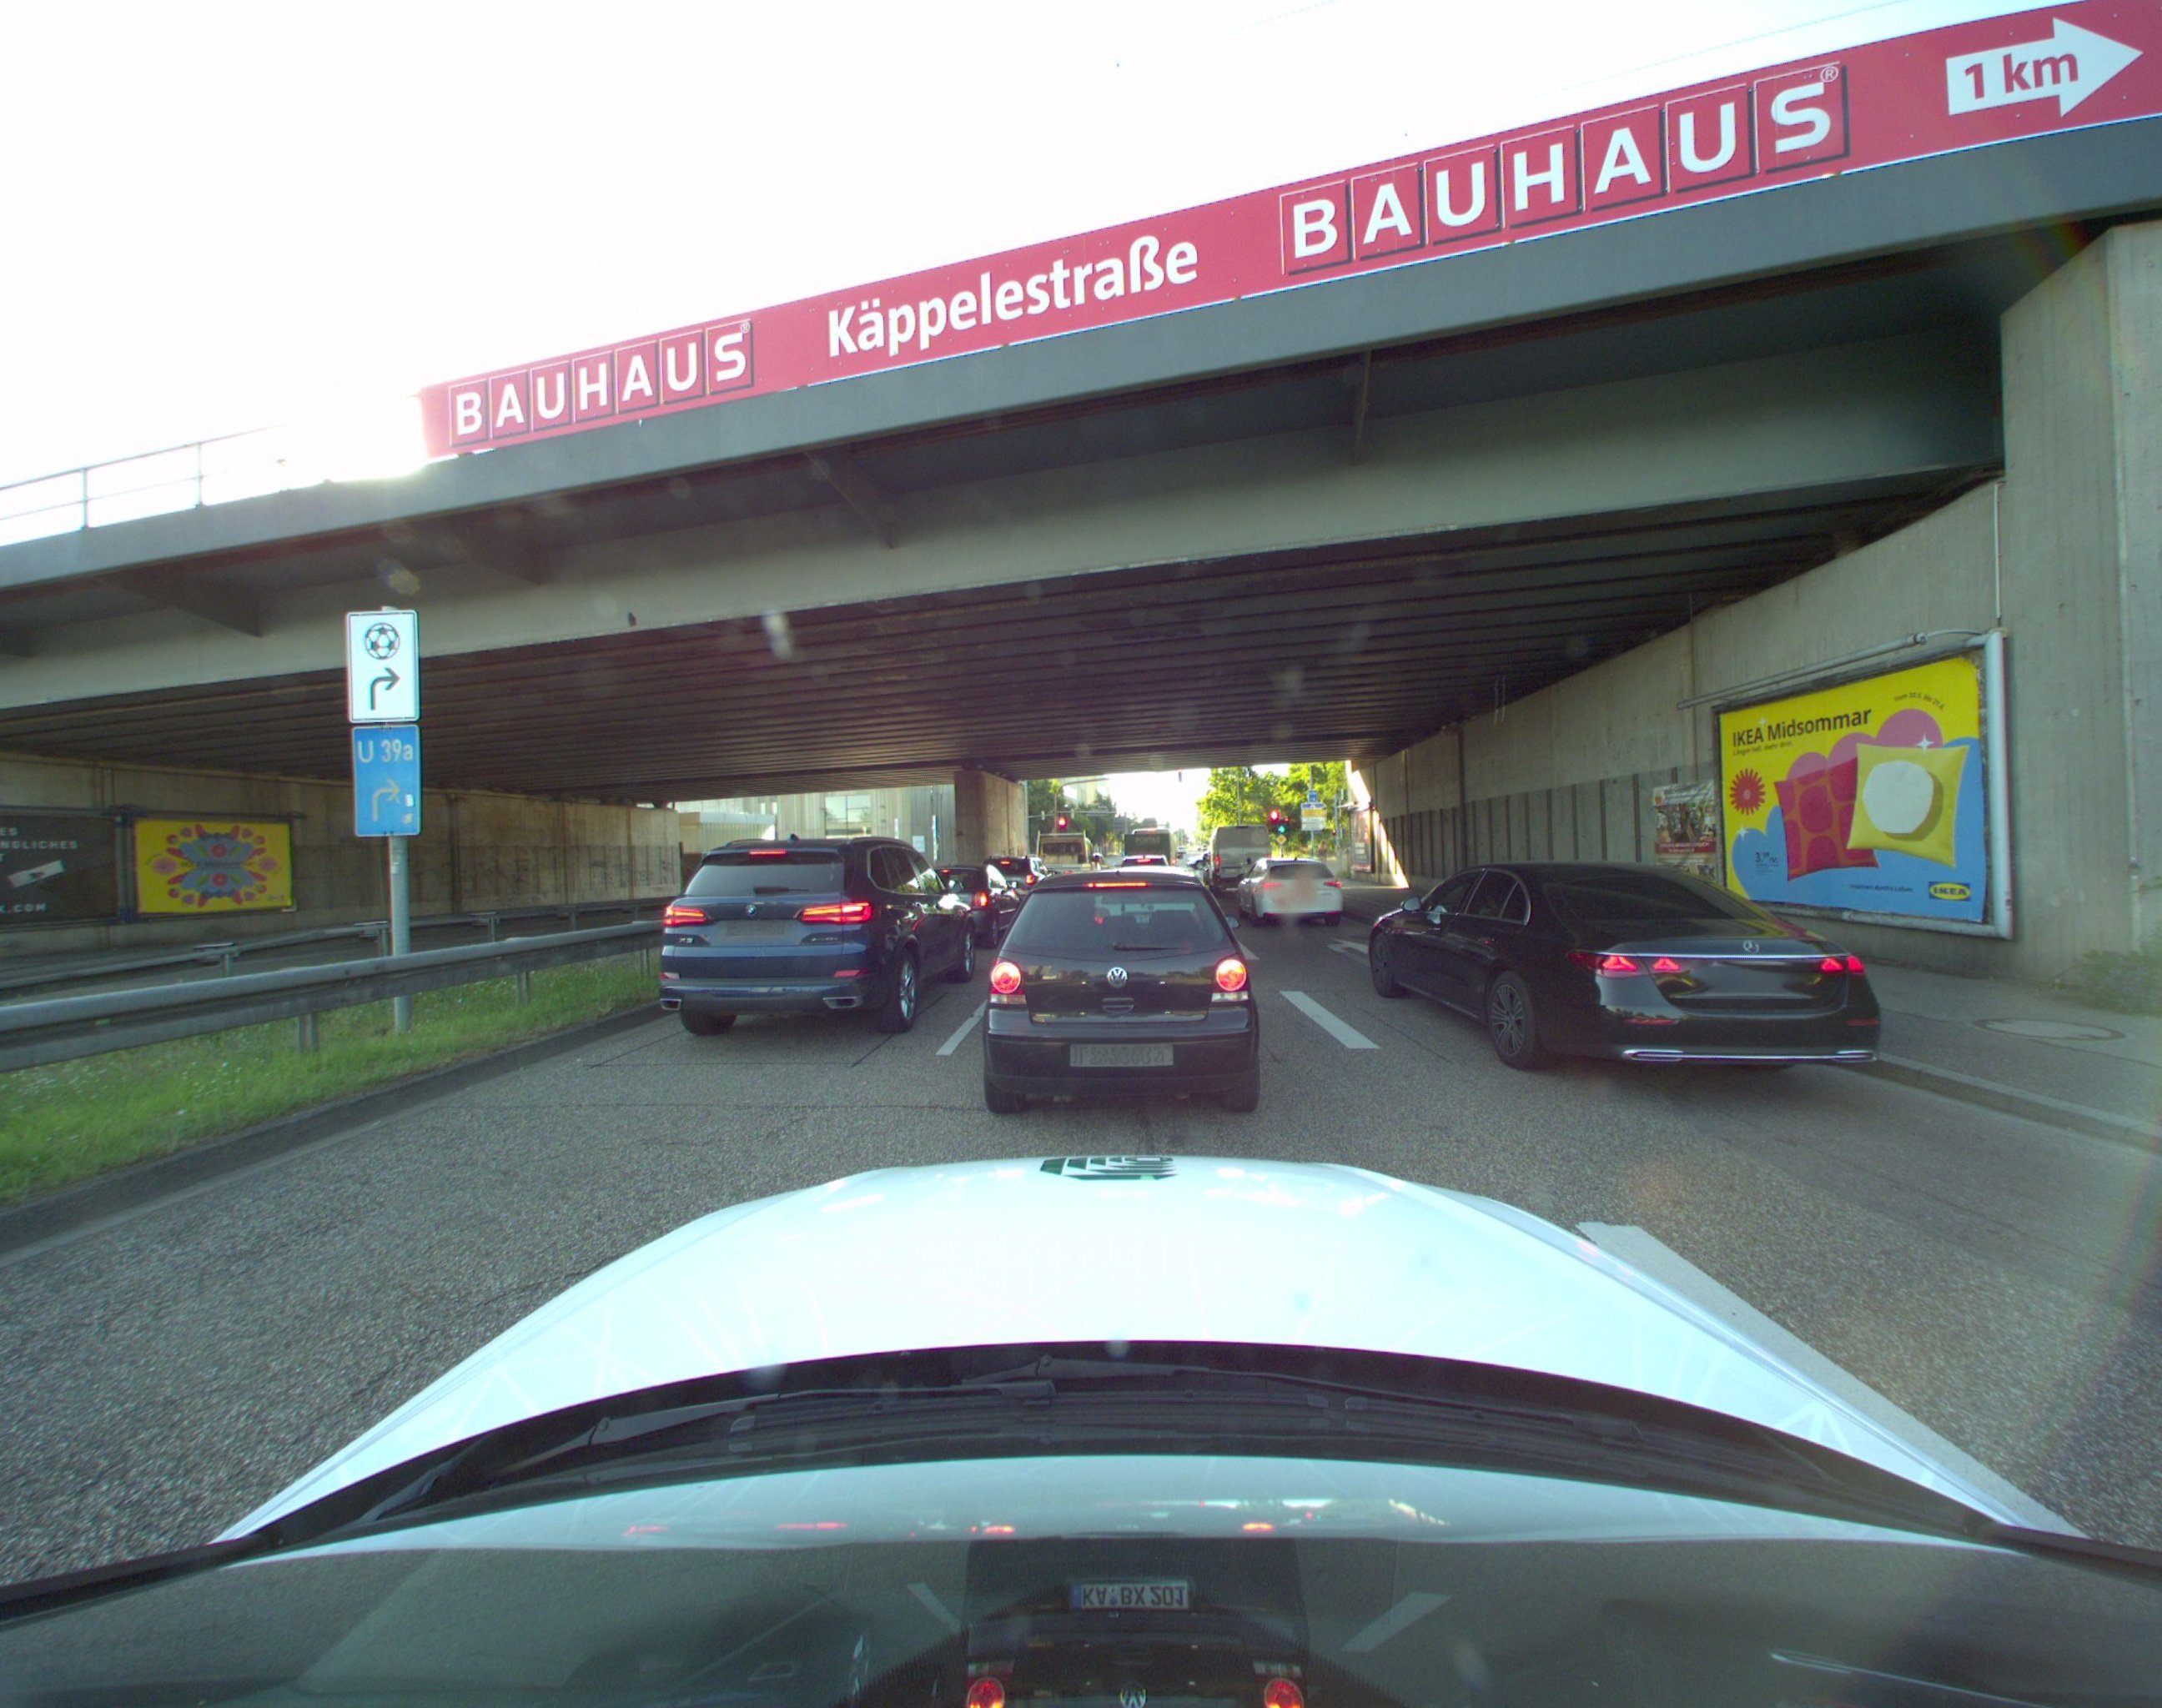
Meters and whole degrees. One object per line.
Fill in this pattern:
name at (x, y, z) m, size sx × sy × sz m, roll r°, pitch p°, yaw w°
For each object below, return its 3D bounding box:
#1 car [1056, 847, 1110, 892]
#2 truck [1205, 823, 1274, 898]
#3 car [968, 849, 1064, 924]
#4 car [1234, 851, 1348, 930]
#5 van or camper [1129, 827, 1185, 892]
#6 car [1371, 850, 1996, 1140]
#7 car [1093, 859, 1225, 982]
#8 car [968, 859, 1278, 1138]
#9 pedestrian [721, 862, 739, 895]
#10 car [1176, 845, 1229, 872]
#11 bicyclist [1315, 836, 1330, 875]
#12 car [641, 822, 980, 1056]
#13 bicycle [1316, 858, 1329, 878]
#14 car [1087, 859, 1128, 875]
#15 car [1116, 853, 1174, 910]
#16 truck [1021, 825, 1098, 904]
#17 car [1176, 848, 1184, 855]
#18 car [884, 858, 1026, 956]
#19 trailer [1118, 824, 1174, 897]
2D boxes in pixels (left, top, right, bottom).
car at (0.152, 0.702, 37.548) m, size 1.983 × 1.901 × 4.007 m, roll -2°, pitch -1°, yaw 7°
truck at (5.902, 0.246, 30.824) m, size 2.101 × 2.519 × 4.408 m, roll -3°, pitch -1°, yaw 6°
car at (-1.663, 0.828, 22.150) m, size 1.833 × 1.719 × 4.005 m, roll -5°, pitch -1°, yaw 5°
car at (4.565, 0.772, 18.236) m, size 1.764 × 1.495 × 3.836 m, roll -3°, pitch -1°, yaw 5°
van or camper at (3.443, 0.268, 35.907) m, size 1.982 × 2.571 × 5.932 m, roll -2°, pitch -1°, yaw 9°
car at (3.920, 0.720, 6.505) m, size 1.733 × 1.454 × 4.609 m, roll -1°, pitch 0°, yaw 2°
car at (1.038, 0.788, 11.303) m, size 1.540 × 1.423 × 3.421 m, roll 0°, pitch 0°, yaw 4°
car at (0.254, 0.787, 6.128) m, size 1.576 × 1.409 × 3.832 m, roll -1°, pitch -1°, yaw 1°
pedestrian at (-20.532, 1.437, 47.693) m, size 0.690 × 1.904 × 0.666 m, roll -2°, pitch -1°, yaw 7°
car at (9.293, 0.329, 62.201) m, size 3.771 × 1.684 × 1.669 m, roll -5°, pitch -1°, yaw 10°
bicyclist at (12.063, 0.100, 40.685) m, size 0.676 × 1.907 × 0.837 m, roll -2°, pitch -1°, yaw 17°
car at (-2.369, 0.700, 8.509) m, size 1.822 × 1.738 × 4.464 m, roll -2°, pitch -1°, yaw 3°
bicycle at (12.031, 0.706, 40.563) m, size 0.574 × 0.963 × 2.898 m, roll -2°, pitch -1°, yaw 17°
car at (1.936, 0.941, 59.613) m, size 2.823 × 1.081 × 1.214 m, roll -1°, pitch -1°, yaw -11°
car at (1.936, 0.804, 24.452) m, size 1.574 × 1.532 × 3.837 m, roll -1°, pitch -1°, yaw 5°
truck at (-0.649, 0.404, 29.550) m, size 2.018 × 2.557 × 5.546 m, roll -2°, pitch -1°, yaw 6°
car at (19.979, -0.561, 164.625) m, size 1.335 × 1.281 × 2.893 m, roll -5°, pitch -1°, yaw 1°
car at (-2.175, 0.900, 15.120) m, size 1.834 × 1.440 × 3.677 m, roll -5°, pitch -1°, yaw 2°
trailer at (2.503, 0.270, 30.555) m, size 1.854 × 2.465 × 3.839 m, roll -3°, pitch -1°, yaw 7°
